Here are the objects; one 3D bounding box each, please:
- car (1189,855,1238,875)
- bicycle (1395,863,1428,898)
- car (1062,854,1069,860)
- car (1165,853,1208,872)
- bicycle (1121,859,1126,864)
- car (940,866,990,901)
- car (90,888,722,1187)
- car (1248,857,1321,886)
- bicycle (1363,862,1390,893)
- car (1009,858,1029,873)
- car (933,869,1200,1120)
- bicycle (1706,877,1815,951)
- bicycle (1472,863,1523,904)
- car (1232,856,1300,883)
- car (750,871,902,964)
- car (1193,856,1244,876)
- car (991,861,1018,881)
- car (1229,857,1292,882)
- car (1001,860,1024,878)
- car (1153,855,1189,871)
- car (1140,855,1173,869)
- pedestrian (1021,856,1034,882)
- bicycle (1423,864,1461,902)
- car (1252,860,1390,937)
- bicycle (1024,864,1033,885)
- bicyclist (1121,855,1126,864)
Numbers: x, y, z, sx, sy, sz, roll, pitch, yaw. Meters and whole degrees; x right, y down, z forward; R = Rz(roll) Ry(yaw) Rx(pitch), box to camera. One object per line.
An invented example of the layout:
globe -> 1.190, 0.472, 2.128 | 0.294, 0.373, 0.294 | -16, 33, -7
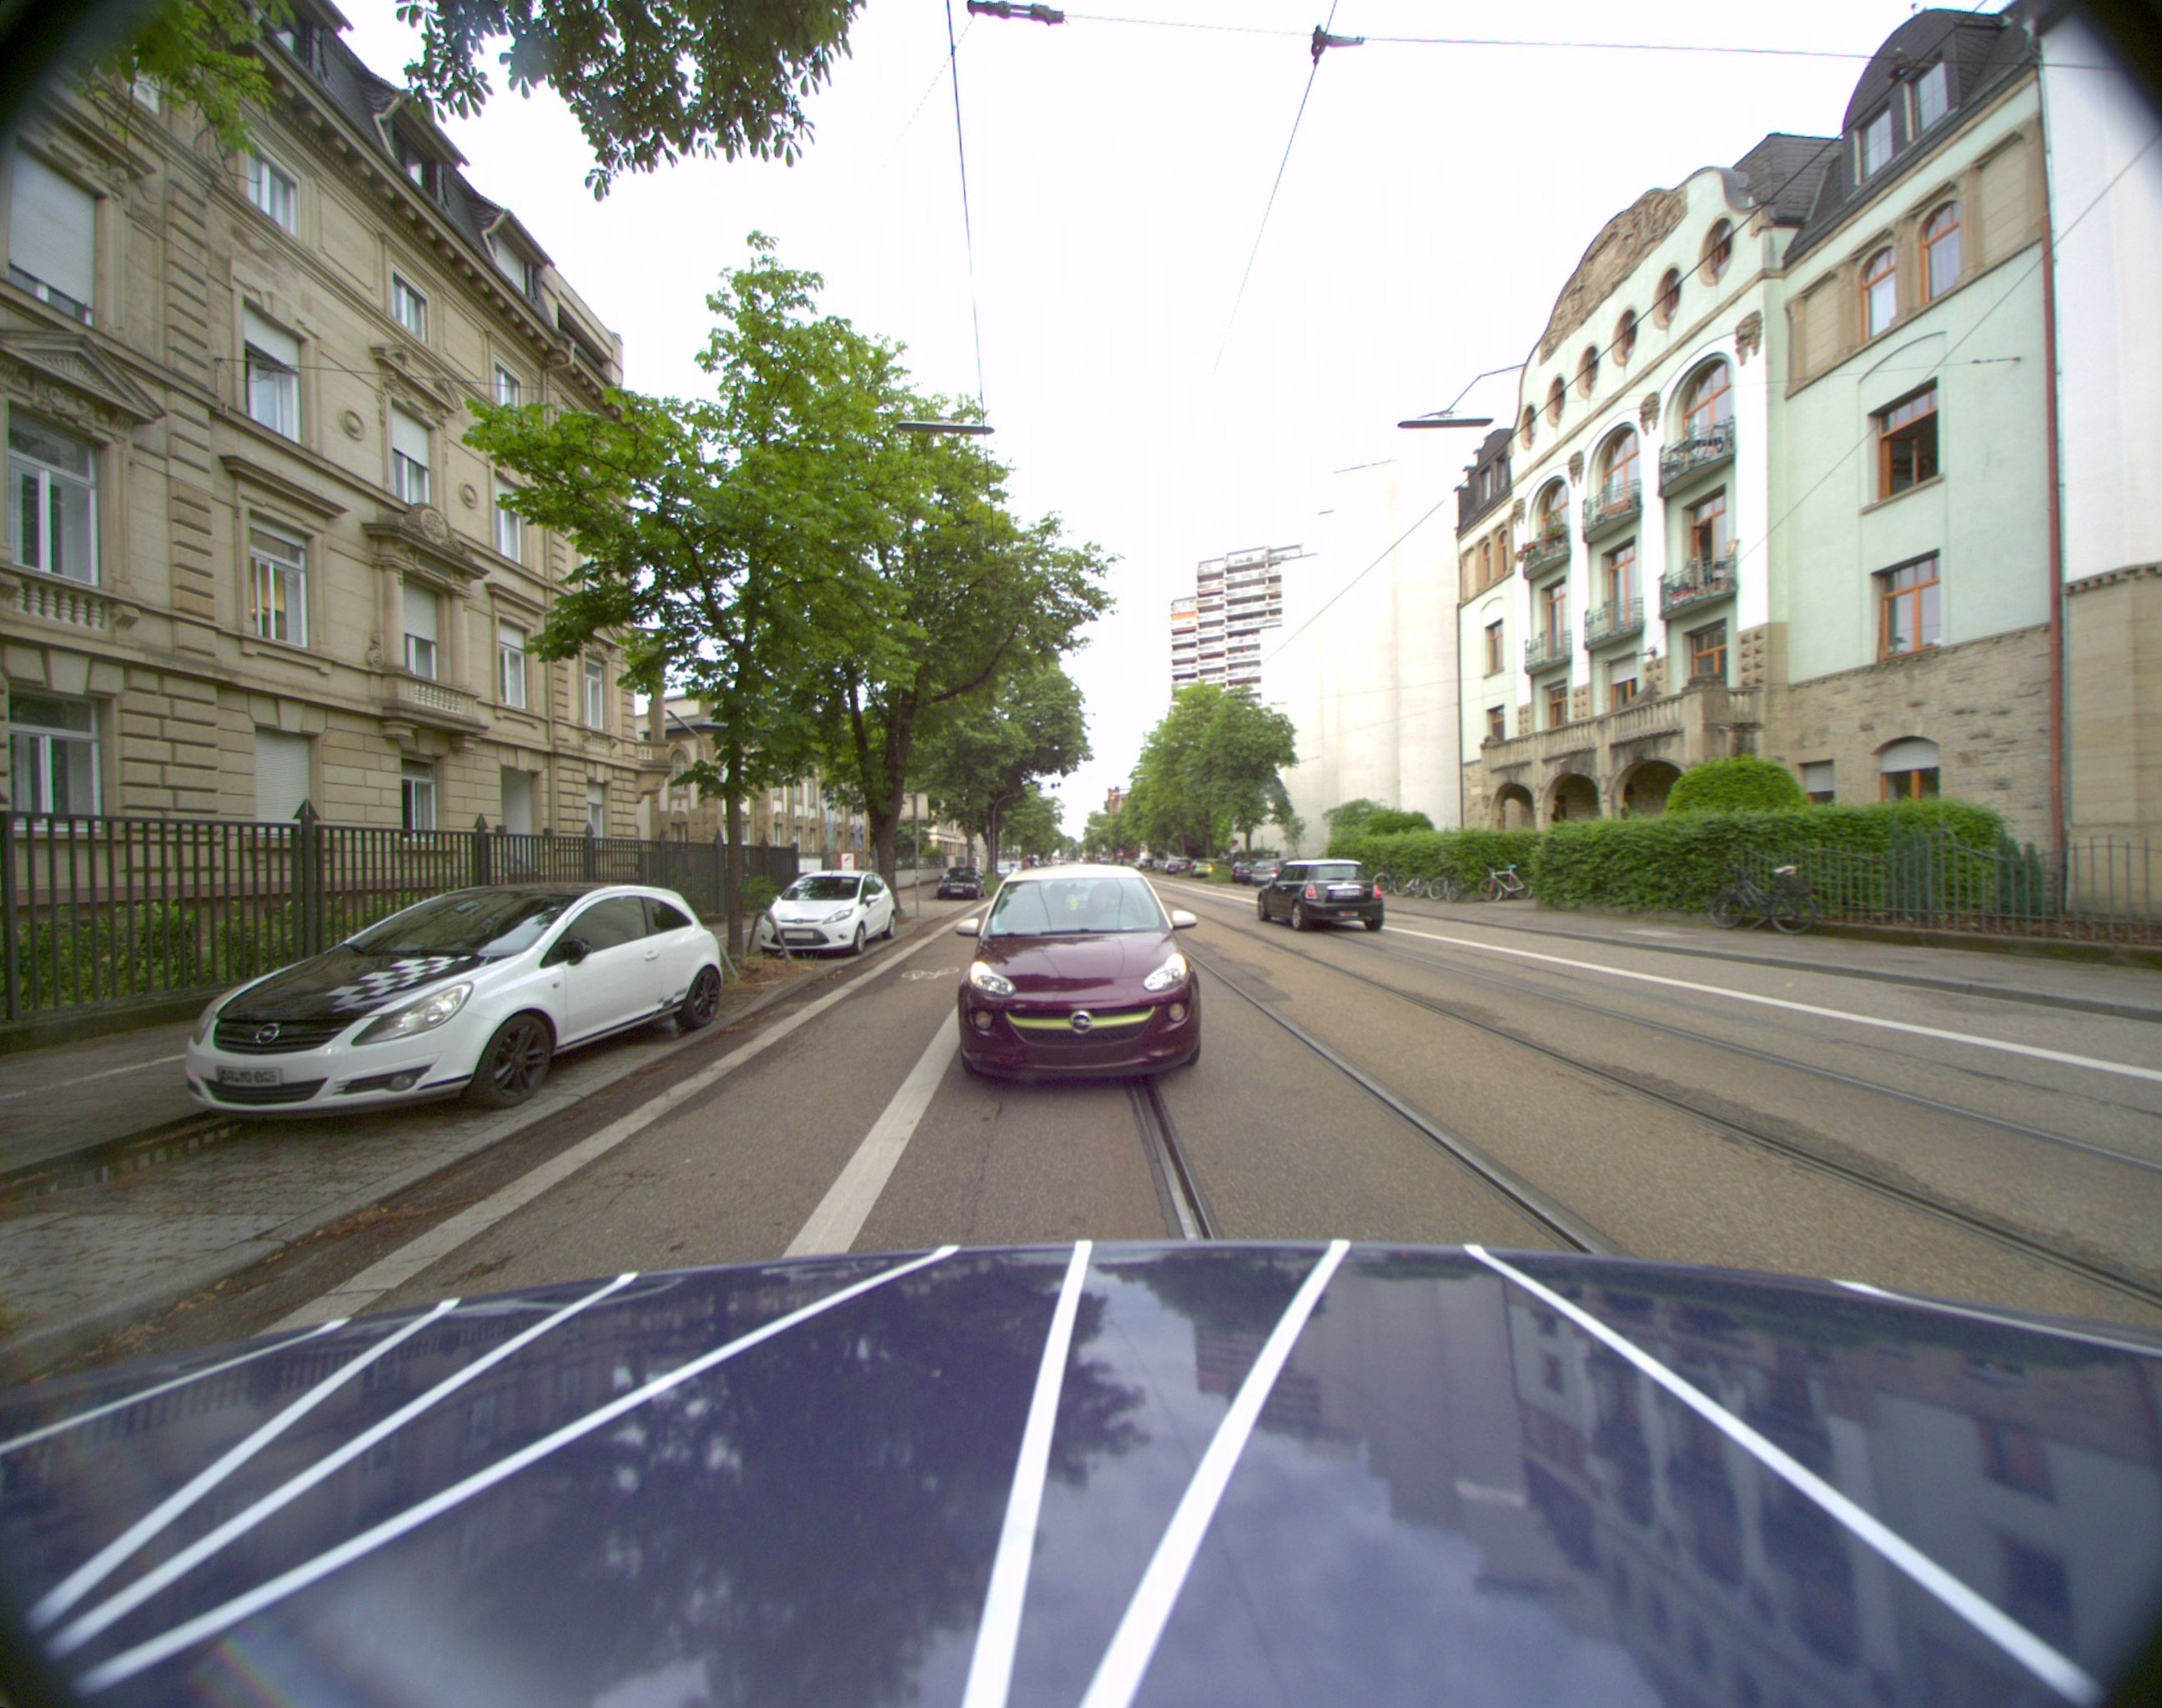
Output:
car -> 10.308, 0.858, 58.959 | 4.008, 1.434, 1.690 | -1, 0, -44
bicycle -> 10.681, 0.832, 24.580 | 0.360, 1.077, 1.546 | -1, 0, -1
car -> -4.975, 0.974, 243.173 | 1.998, 2.002, 4.000 | -2, 1, 1
car -> 9.549, 0.744, 68.668 | 4.008, 1.611, 1.690 | -1, 0, -44
bicycle -> 6.446, 1.174, 114.897 | 0.568, 0.784, 1.890 | -1, 0, -2
car -> -4.956, 1.220, 32.891 | 1.606, 1.362, 3.836 | 1, 0, -1
car -> -4.534, 1.077, 5.984 | 1.606, 1.427, 3.776 | 1, 0, 0
car -> 10.665, 0.899, 39.742 | 4.008, 1.395, 1.691 | -1, 0, -41
bicycle -> 10.633, 0.828, 27.376 | 0.360, 1.077, 1.546 | -1, 0, -1
car -> -6.105, 1.141, 75.098 | 1.606, 1.362, 3.836 | 1, 0, -1
car -> -0.090, 0.916, 6.627 | 1.606, 1.427, 3.776 | -2, 0, 0
bicycle -> 10.989, 0.936, 12.355 | 0.360, 1.077, 1.546 | -1, 0, -1
bicycle -> 11.685, 0.835, 21.306 | 1.205, 1.077, 0.300 | -3, 0, 1
car -> 10.415, 0.863, 42.570 | 4.008, 1.395, 1.691 | -1, 0, -41
car -> -4.632, 1.081, 14.340 | 1.631, 1.427, 3.764 | 1, 0, -1
car -> 10.149, 0.864, 55.905 | 4.008, 1.386, 1.690 | -1, 0, -44
car -> -5.568, 1.218, 55.335 | 1.606, 1.362, 3.836 | 1, 0, -1
car -> 10.836, 0.934, 45.746 | 4.008, 1.395, 1.691 | -1, 0, -41
car -> -5.601, 1.237, 62.678 | 1.606, 1.416, 3.836 | 1, 0, -1
car -> 9.749, 0.928, 82.090 | 4.008, 1.611, 1.690 | -1, 0, -44
car -> 9.137, 0.932, 91.911 | 4.008, 1.611, 1.690 | -1, 0, -44
pedestrian -> -3.179, 0.868, 45.374 | 0.684, 1.541, 0.704 | -1, 1, -1
bicycle -> 10.676, 0.842, 22.523 | 0.360, 1.077, 1.546 | -1, 0, -1
car -> 4.931, 0.855, 16.097 | 1.613, 1.414, 3.485 | 0, 0, -4
bicycle -> -3.161, 1.210, 45.543 | 0.414, 1.197, 1.706 | -1, 0, -1
bicyclist -> 6.468, 0.817, 115.056 | 0.752, 1.247, 0.875 | -1, 0, 0
